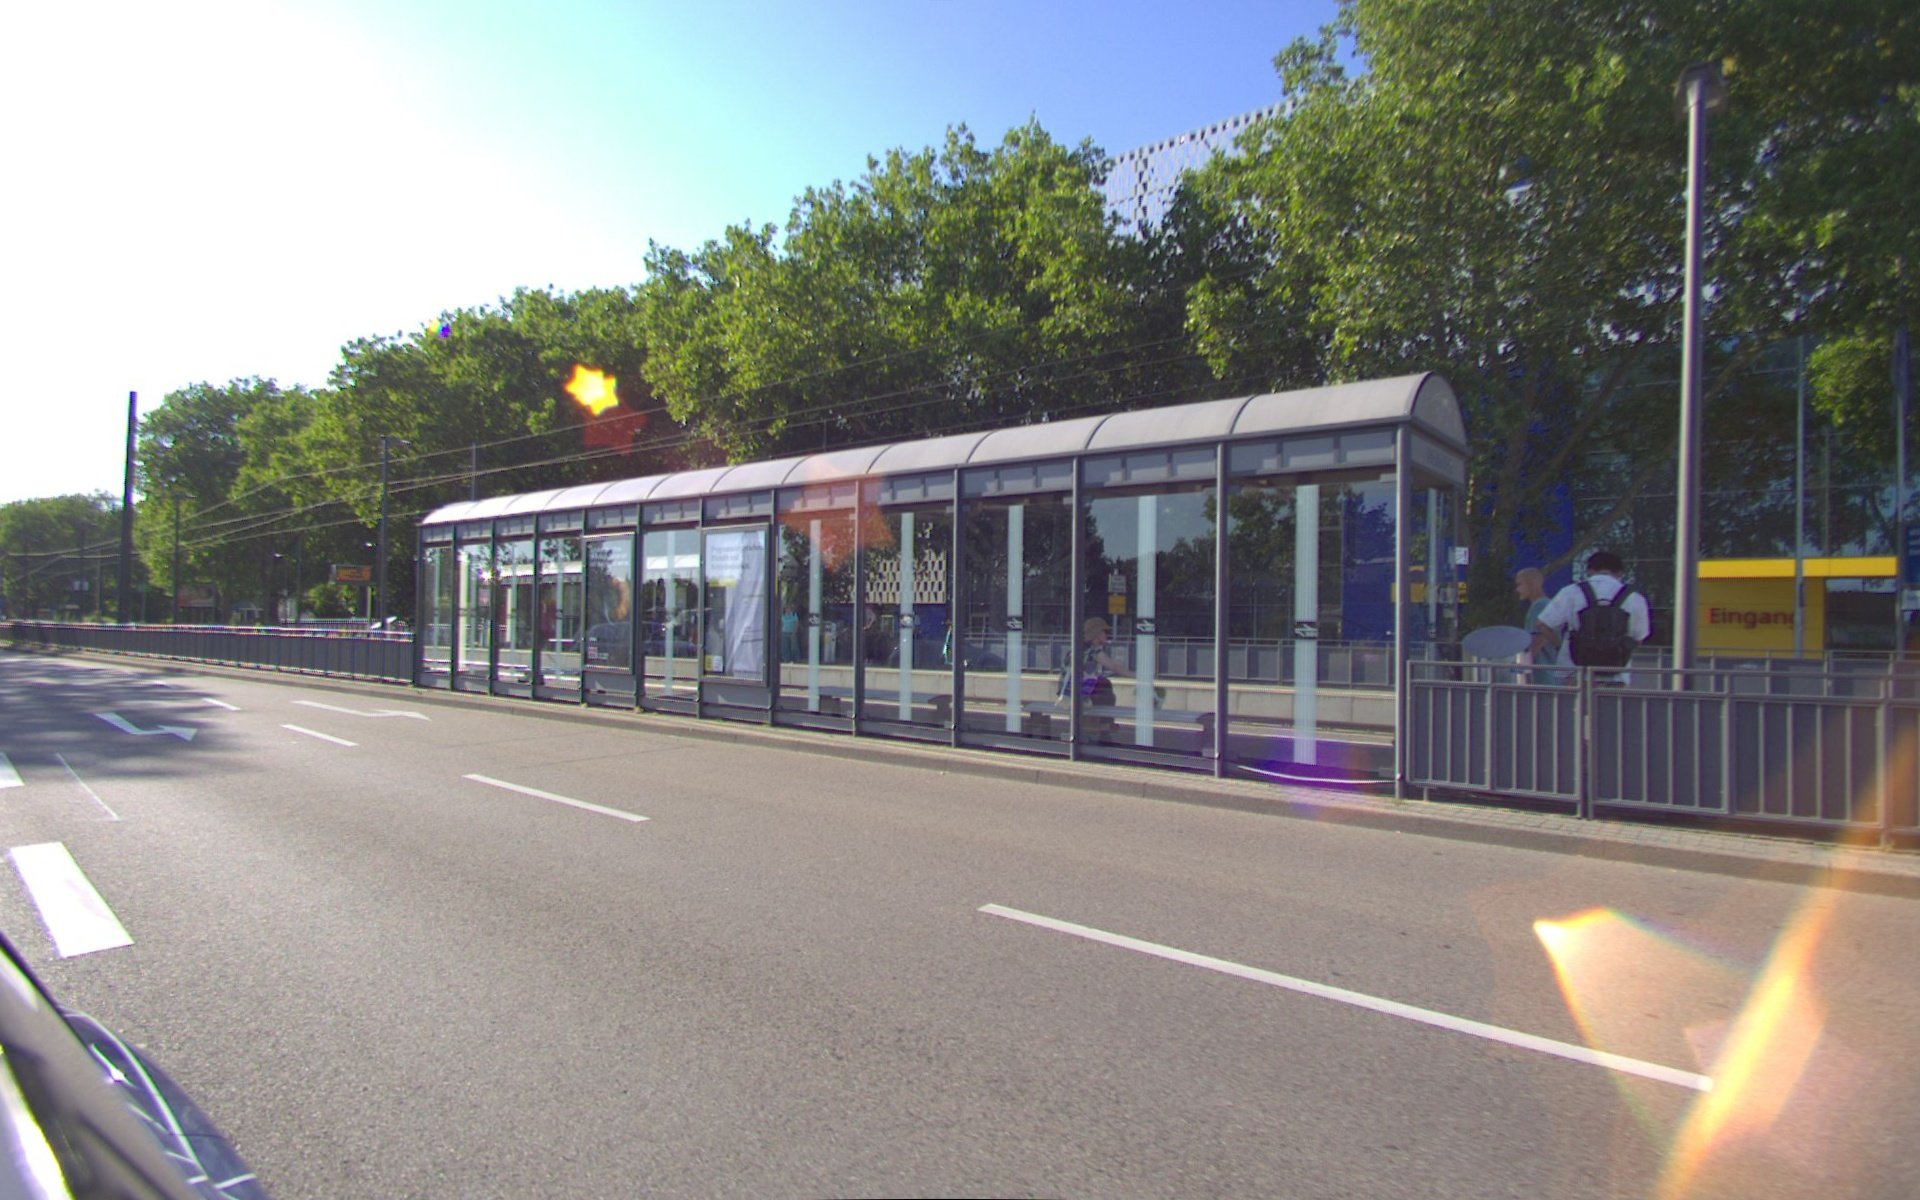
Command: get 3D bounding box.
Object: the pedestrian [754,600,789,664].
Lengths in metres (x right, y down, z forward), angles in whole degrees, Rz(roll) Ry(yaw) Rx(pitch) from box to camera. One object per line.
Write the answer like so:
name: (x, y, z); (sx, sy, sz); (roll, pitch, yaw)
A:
pedestrian: (-5.530, 0.937, 29.720); (0.685, 1.834, 0.725); (-1, 0, 34)

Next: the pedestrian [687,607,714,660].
pedestrian: (-8.116, 1.050, 31.649); (0.568, 1.648, 0.645); (2, -2, -42)

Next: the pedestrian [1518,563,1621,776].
pedestrian: (4.816, 0.530, 8.035); (0.638, 1.608, 0.553); (-1, -1, 27)

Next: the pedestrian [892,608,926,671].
pedestrian: (-1.347, 1.041, 26.769); (0.690, 1.632, 0.595); (-1, -1, 43)

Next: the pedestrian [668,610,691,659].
pedestrian: (-9.266, 1.129, 33.445); (0.568, 1.589, 0.489); (2, -2, -42)

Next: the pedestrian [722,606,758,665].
pedestrian: (-6.265, 0.990, 28.762); (0.776, 1.645, 0.653); (-1, -1, 41)

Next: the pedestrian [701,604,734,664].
pedestrian: (-7.257, 1.020, 30.258); (0.684, 1.755, 0.647); (-1, 0, 37)

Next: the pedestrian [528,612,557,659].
pedestrian: (-15.437, 1.305, 37.389); (0.678, 1.723, 0.753); (-1, -2, 41)

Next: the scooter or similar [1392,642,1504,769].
scooter or similar: (4.103, 0.860, 8.521); (0.812, 0.995, 0.566); (-1, -1, 28)

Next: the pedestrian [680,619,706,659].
pedestrian: (-8.624, 1.247, 32.711); (0.663, 1.267, 0.576); (0, -2, 6)

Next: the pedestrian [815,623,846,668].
pedestrian: (-3.625, 1.266, 28.299); (0.617, 1.234, 0.595); (-1, -1, 43)

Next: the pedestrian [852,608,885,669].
pedestrian: (-2.495, 1.050, 27.607); (0.635, 1.632, 0.644); (-1, -1, 43)

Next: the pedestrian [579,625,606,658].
pedestrian: (-13.204, 1.489, 36.345); (0.623, 1.171, 0.671); (-1, -2, 37)

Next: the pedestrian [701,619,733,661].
pedestrian: (-7.528, 1.238, 31.332); (0.684, 1.262, 0.647); (-1, 0, 37)

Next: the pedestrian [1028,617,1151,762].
pedestrian: (1.186, 0.786, 9.291); (0.878, 1.241, 0.673); (-1, 0, 40)

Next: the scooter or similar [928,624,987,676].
scooter or similar: (-0.069, 1.237, 25.338); (1.371, 1.244, 0.657); (-1, -2, 39)

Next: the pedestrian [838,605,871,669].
pedestrian: (-2.923, 1.008, 27.973); (0.635, 1.732, 0.644); (-1, -1, 43)

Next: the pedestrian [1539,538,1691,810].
pedestrian: (4.490, 0.475, 6.949); (0.820, 1.729, 0.687); (-1, -1, 35)
